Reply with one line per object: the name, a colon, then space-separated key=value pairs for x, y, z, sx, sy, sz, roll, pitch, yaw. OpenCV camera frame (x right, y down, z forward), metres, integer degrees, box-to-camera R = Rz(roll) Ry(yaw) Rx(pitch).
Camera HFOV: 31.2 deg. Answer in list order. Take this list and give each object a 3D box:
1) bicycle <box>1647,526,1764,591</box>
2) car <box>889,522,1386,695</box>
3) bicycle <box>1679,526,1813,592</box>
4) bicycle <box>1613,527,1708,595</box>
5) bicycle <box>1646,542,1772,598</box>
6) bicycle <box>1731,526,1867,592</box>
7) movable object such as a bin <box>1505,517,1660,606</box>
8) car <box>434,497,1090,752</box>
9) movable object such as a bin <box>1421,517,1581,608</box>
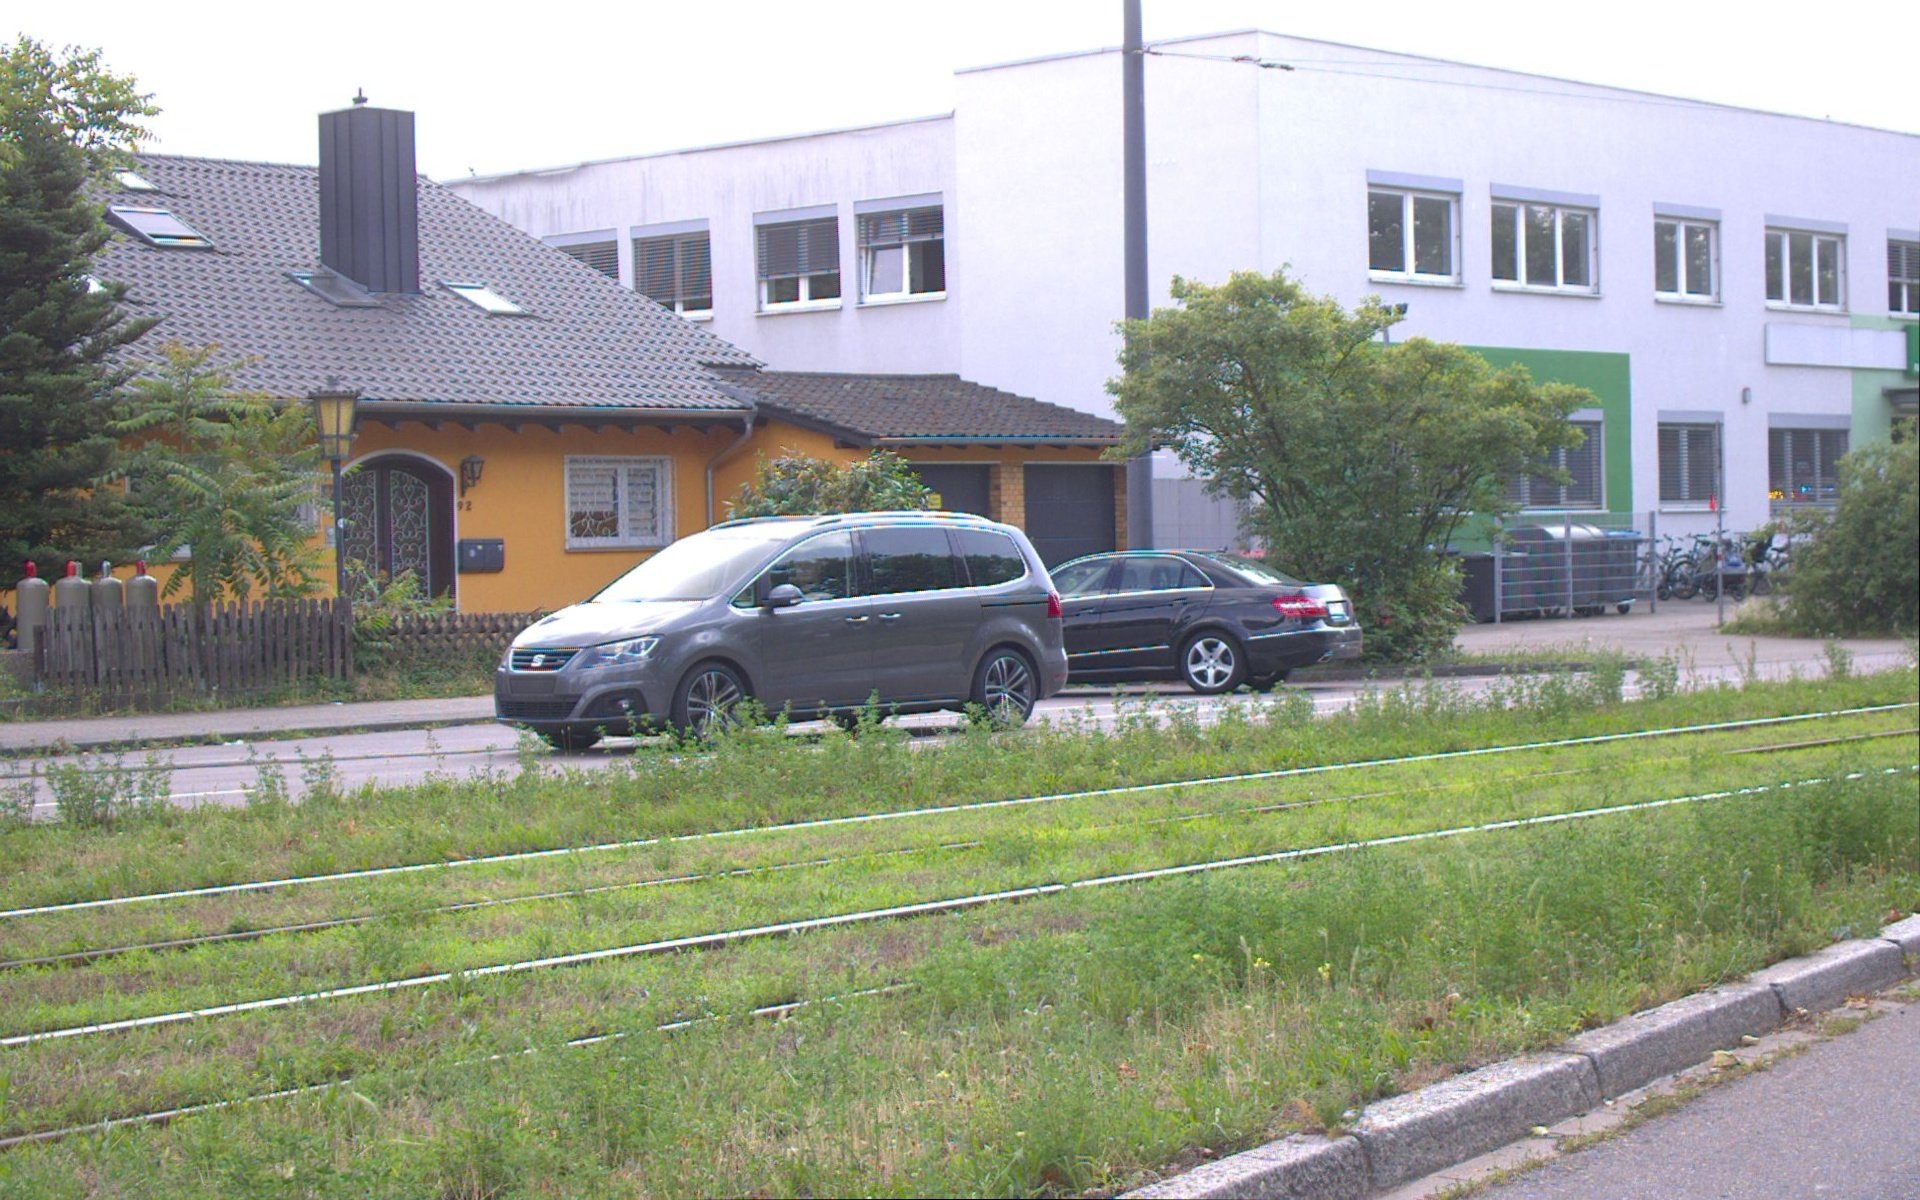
bicycle: x=12.740 y=-0.711 z=58.779 sx=1.796 sy=1.078 sz=0.735 roll=0 pitch=1 yaw=40
car: x=1.804 y=0.089 z=34.772 sx=4.570 sy=1.575 sz=1.998 roll=-2 pitch=1 yaw=23
bicycle: x=14.181 y=-0.742 z=62.084 sx=0.758 sy=1.162 sz=2.350 roll=-2 pitch=1 yaw=-42
bicycle: x=12.314 y=-0.681 z=60.488 sx=0.703 sy=1.162 sz=1.621 roll=-2 pitch=1 yaw=-31
bicycle: x=13.400 y=-0.537 z=61.573 sx=0.729 sy=0.967 sz=2.158 roll=-2 pitch=2 yaw=-43
bicycle: x=15.271 y=-0.742 z=62.628 sx=0.746 sy=1.162 sz=2.417 roll=-2 pitch=1 yaw=-40
movable object such as a bin: x=9.714 y=-0.602 z=53.614 sx=2.126 sy=1.322 sz=1.376 roll=-2 pitch=2 yaw=-44
car: x=-1.412 y=0.117 z=26.016 sx=4.727 sy=1.716 sz=1.999 roll=-2 pitch=2 yaw=-42
movable object such as a bin: x=8.192 y=-0.568 z=52.046 sx=2.111 sy=1.322 sz=1.376 roll=-2 pitch=2 yaw=-44
